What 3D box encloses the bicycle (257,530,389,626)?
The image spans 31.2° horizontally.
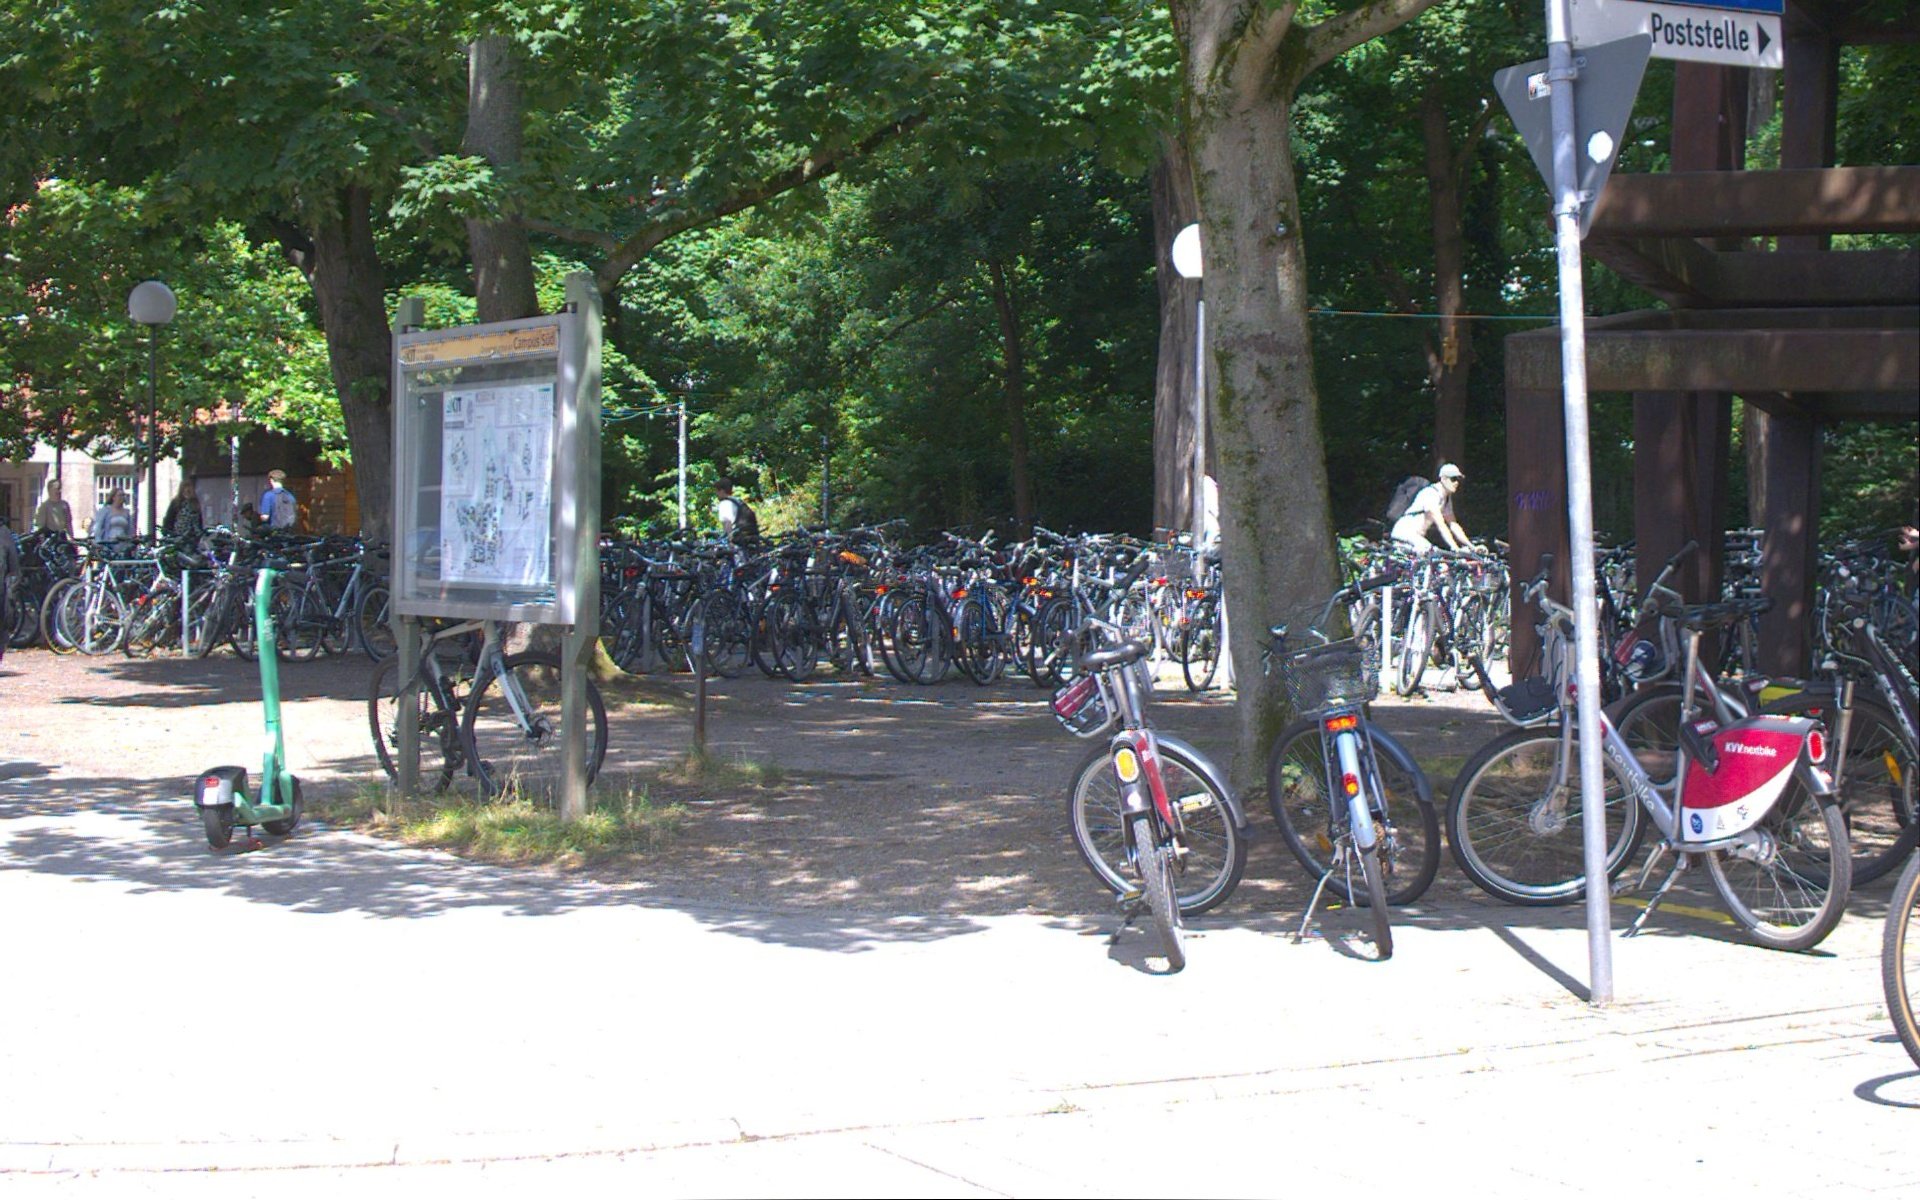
[{"bbox_3d":[-7.352,-0.265,39.753,0.473,1.080,1.697,3,2,31],"label":"bicycle"}]

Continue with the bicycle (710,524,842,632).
[{"bbox_3d":[-1.896,-0.237,35.556,0.473,1.080,1.697,3,2,31],"label":"bicycle"}]

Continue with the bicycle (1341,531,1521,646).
[{"bbox_3d":[4.725,-0.126,34.552,1.698,1.080,0.603,3,2,39],"label":"bicycle"}]

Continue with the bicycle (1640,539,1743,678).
[{"bbox_3d":[6.033,0.051,28.320,0.473,1.080,1.857,2,2,22],"label":"bicycle"}]

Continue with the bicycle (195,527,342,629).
[{"bbox_3d":[-7.547,-0.253,37.579,0.473,1.080,1.856,2,2,28],"label":"bicycle"}]

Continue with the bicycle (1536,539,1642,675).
[{"bbox_3d":[5.268,0.041,28.731,0.473,1.080,1.857,2,2,22],"label":"bicycle"}]

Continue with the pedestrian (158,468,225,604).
[{"bbox_3d":[-10.070,-0.841,45.036,0.608,1.768,0.659,0,2,-39],"label":"pedestrian"}]

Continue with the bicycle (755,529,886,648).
[{"bbox_3d":[-1.301,-0.123,32.415,0.473,1.080,1.857,2,2,22],"label":"bicycle"}]

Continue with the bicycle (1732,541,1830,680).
[{"bbox_3d":[6.736,0.068,28.166,0.473,1.080,1.857,2,2,22],"label":"bicycle"}]

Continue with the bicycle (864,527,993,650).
[{"bbox_3d":[-0.273,-0.121,31.522,0.473,1.080,1.857,2,2,22],"label":"bicycle"}]

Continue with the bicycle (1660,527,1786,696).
[{"bbox_3d":[5.271,0.057,23.697,0.502,1.104,1.905,2,2,22],"label":"bicycle"}]

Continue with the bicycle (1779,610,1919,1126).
[{"bbox_3d":[2.900,0.599,7.972,1.813,1.104,0.641,0,3,-7],"label":"bicycle"}]

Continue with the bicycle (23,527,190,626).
[{"bbox_3d":[-9.606,-0.266,38.737,0.474,1.080,1.854,3,2,43],"label":"bicycle"}]

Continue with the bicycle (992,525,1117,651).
[{"bbox_3d":[0.864,-0.123,30.875,0.473,1.080,1.857,2,2,22],"label":"bicycle"}]

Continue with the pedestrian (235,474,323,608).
[{"bbox_3d":[-9.301,-0.806,46.931,0.906,1.796,0.768,3,2,42],"label":"pedestrian"}]

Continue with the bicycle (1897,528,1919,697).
[{"bbox_3d":[6.767,0.071,23.396,0.502,1.104,1.778,2,2,22],"label":"bicycle"}]

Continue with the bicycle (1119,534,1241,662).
[{"bbox_3d":[1.955,-0.038,30.355,0.473,1.080,1.857,2,2,22],"label":"bicycle"}]

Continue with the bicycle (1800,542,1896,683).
[{"bbox_3d":[7.199,0.085,27.826,0.473,1.080,1.857,2,2,22],"label":"bicycle"}]

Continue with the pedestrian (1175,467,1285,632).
[{"bbox_3d":[2.932,-0.553,37.396,0.767,1.768,0.907,0,2,-30],"label":"pedestrian"}]

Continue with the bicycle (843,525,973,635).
[{"bbox_3d":[-0.517,-0.214,34.901,0.473,1.080,1.697,3,2,31],"label":"bicycle"}]

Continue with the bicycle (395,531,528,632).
[{"bbox_3d":[-5.493,-0.213,37.948,0.473,1.080,1.697,3,2,31],"label":"bicycle"}]

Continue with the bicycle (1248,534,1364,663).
[{"bbox_3d":[3.037,-0.032,30.047,0.473,1.080,1.857,2,2,22],"label":"bicycle"}]

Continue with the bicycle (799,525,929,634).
[{"bbox_3d":[-0.970,-0.216,35.260,0.473,1.080,1.697,3,2,31],"label":"bicycle"}]

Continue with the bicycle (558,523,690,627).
[{"bbox_3d":[-3.588,-0.278,36.838,0.473,1.080,1.697,3,2,31],"label":"bicycle"}]

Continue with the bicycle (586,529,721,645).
[{"bbox_3d":[-2.940,-0.141,33.186,0.473,1.080,1.857,2,2,22],"label":"bicycle"}]

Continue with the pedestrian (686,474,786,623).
[{"bbox_3d":[-2.710,-0.634,41.636,0.906,1.768,0.768,3,2,42],"label":"pedestrian"}]

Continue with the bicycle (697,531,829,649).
[{"bbox_3d":[-1.864,-0.115,32.766,0.473,1.080,1.857,2,2,22],"label":"bicycle"}]

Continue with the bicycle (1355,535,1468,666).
[{"bbox_3d":[3.892,-0.013,29.538,0.473,1.080,1.857,2,2,22],"label":"bicycle"}]

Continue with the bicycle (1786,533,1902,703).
[{"bbox_3d":[6.108,0.102,23.696,0.502,1.104,1.778,2,2,22],"label":"bicycle"}]

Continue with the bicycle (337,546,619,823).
[{"bbox_3d":[-2.165,0.344,15.260,0.392,1.104,1.839,0,2,-36],"label":"bicycle"}]

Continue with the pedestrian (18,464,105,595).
[{"bbox_3d":[-12.355,-0.972,47.259,0.906,1.768,0.768,3,2,42],"label":"pedestrian"}]

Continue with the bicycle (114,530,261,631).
[{"bbox_3d":[-8.572,-0.226,38.237,0.473,1.080,1.856,2,2,28],"label":"bicycle"}]

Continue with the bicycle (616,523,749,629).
[{"bbox_3d":[-2.915,-0.261,36.253,0.473,1.080,1.697,3,2,31],"label":"bicycle"}]

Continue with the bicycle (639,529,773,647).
[{"bbox_3d":[-2.414,-0.129,32.884,0.473,1.080,1.857,2,2,22],"label":"bicycle"}]

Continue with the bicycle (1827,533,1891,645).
[{"bbox_3d":[9.320,-0.133,35.692,0.516,1.106,1.777,2,2,12],"label":"bicycle"}]

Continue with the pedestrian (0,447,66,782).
[{"bbox_3d":[-5.067,0.062,17.569,0.726,1.678,0.874,-1,2,-33],"label":"pedestrian"}]

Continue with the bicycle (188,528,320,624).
[{"bbox_3d":[-8.246,-0.289,40.232,0.473,1.080,1.697,3,2,31],"label":"bicycle"}]

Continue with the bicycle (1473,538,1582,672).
[{"bbox_3d":[4.799,0.025,28.975,0.473,1.080,1.857,2,2,22],"label":"bicycle"}]

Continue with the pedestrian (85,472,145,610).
[{"bbox_3d":[-10.934,-0.770,44.494,0.501,1.765,0.671,0,2,-37],"label":"pedestrian"}]
